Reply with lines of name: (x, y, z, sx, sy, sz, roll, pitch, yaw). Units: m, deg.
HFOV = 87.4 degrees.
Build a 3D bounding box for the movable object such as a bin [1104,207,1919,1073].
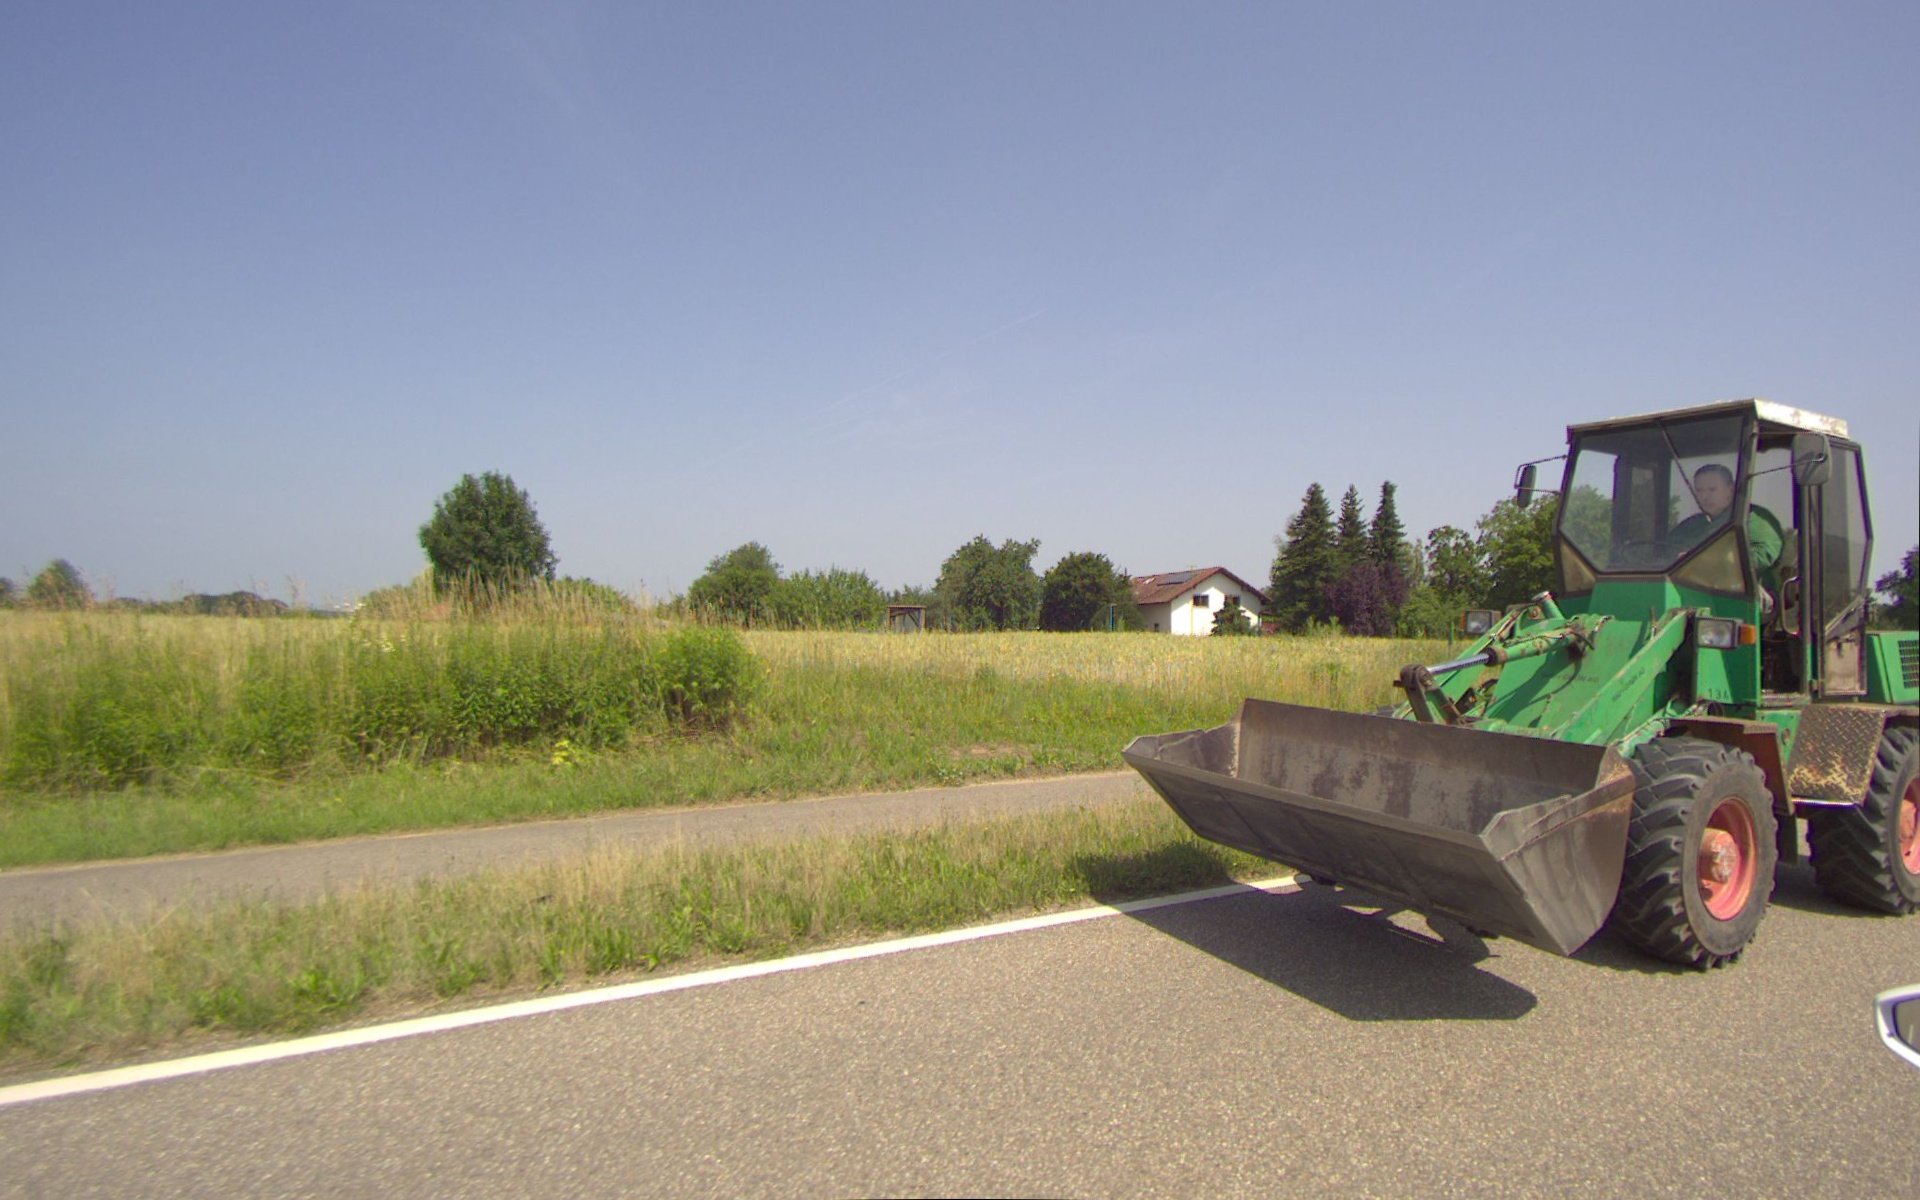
movable object such as a bin: (3.477, 0.171, 5.362, 5.165, 2.792, 1.992, 1, 0, -29)
